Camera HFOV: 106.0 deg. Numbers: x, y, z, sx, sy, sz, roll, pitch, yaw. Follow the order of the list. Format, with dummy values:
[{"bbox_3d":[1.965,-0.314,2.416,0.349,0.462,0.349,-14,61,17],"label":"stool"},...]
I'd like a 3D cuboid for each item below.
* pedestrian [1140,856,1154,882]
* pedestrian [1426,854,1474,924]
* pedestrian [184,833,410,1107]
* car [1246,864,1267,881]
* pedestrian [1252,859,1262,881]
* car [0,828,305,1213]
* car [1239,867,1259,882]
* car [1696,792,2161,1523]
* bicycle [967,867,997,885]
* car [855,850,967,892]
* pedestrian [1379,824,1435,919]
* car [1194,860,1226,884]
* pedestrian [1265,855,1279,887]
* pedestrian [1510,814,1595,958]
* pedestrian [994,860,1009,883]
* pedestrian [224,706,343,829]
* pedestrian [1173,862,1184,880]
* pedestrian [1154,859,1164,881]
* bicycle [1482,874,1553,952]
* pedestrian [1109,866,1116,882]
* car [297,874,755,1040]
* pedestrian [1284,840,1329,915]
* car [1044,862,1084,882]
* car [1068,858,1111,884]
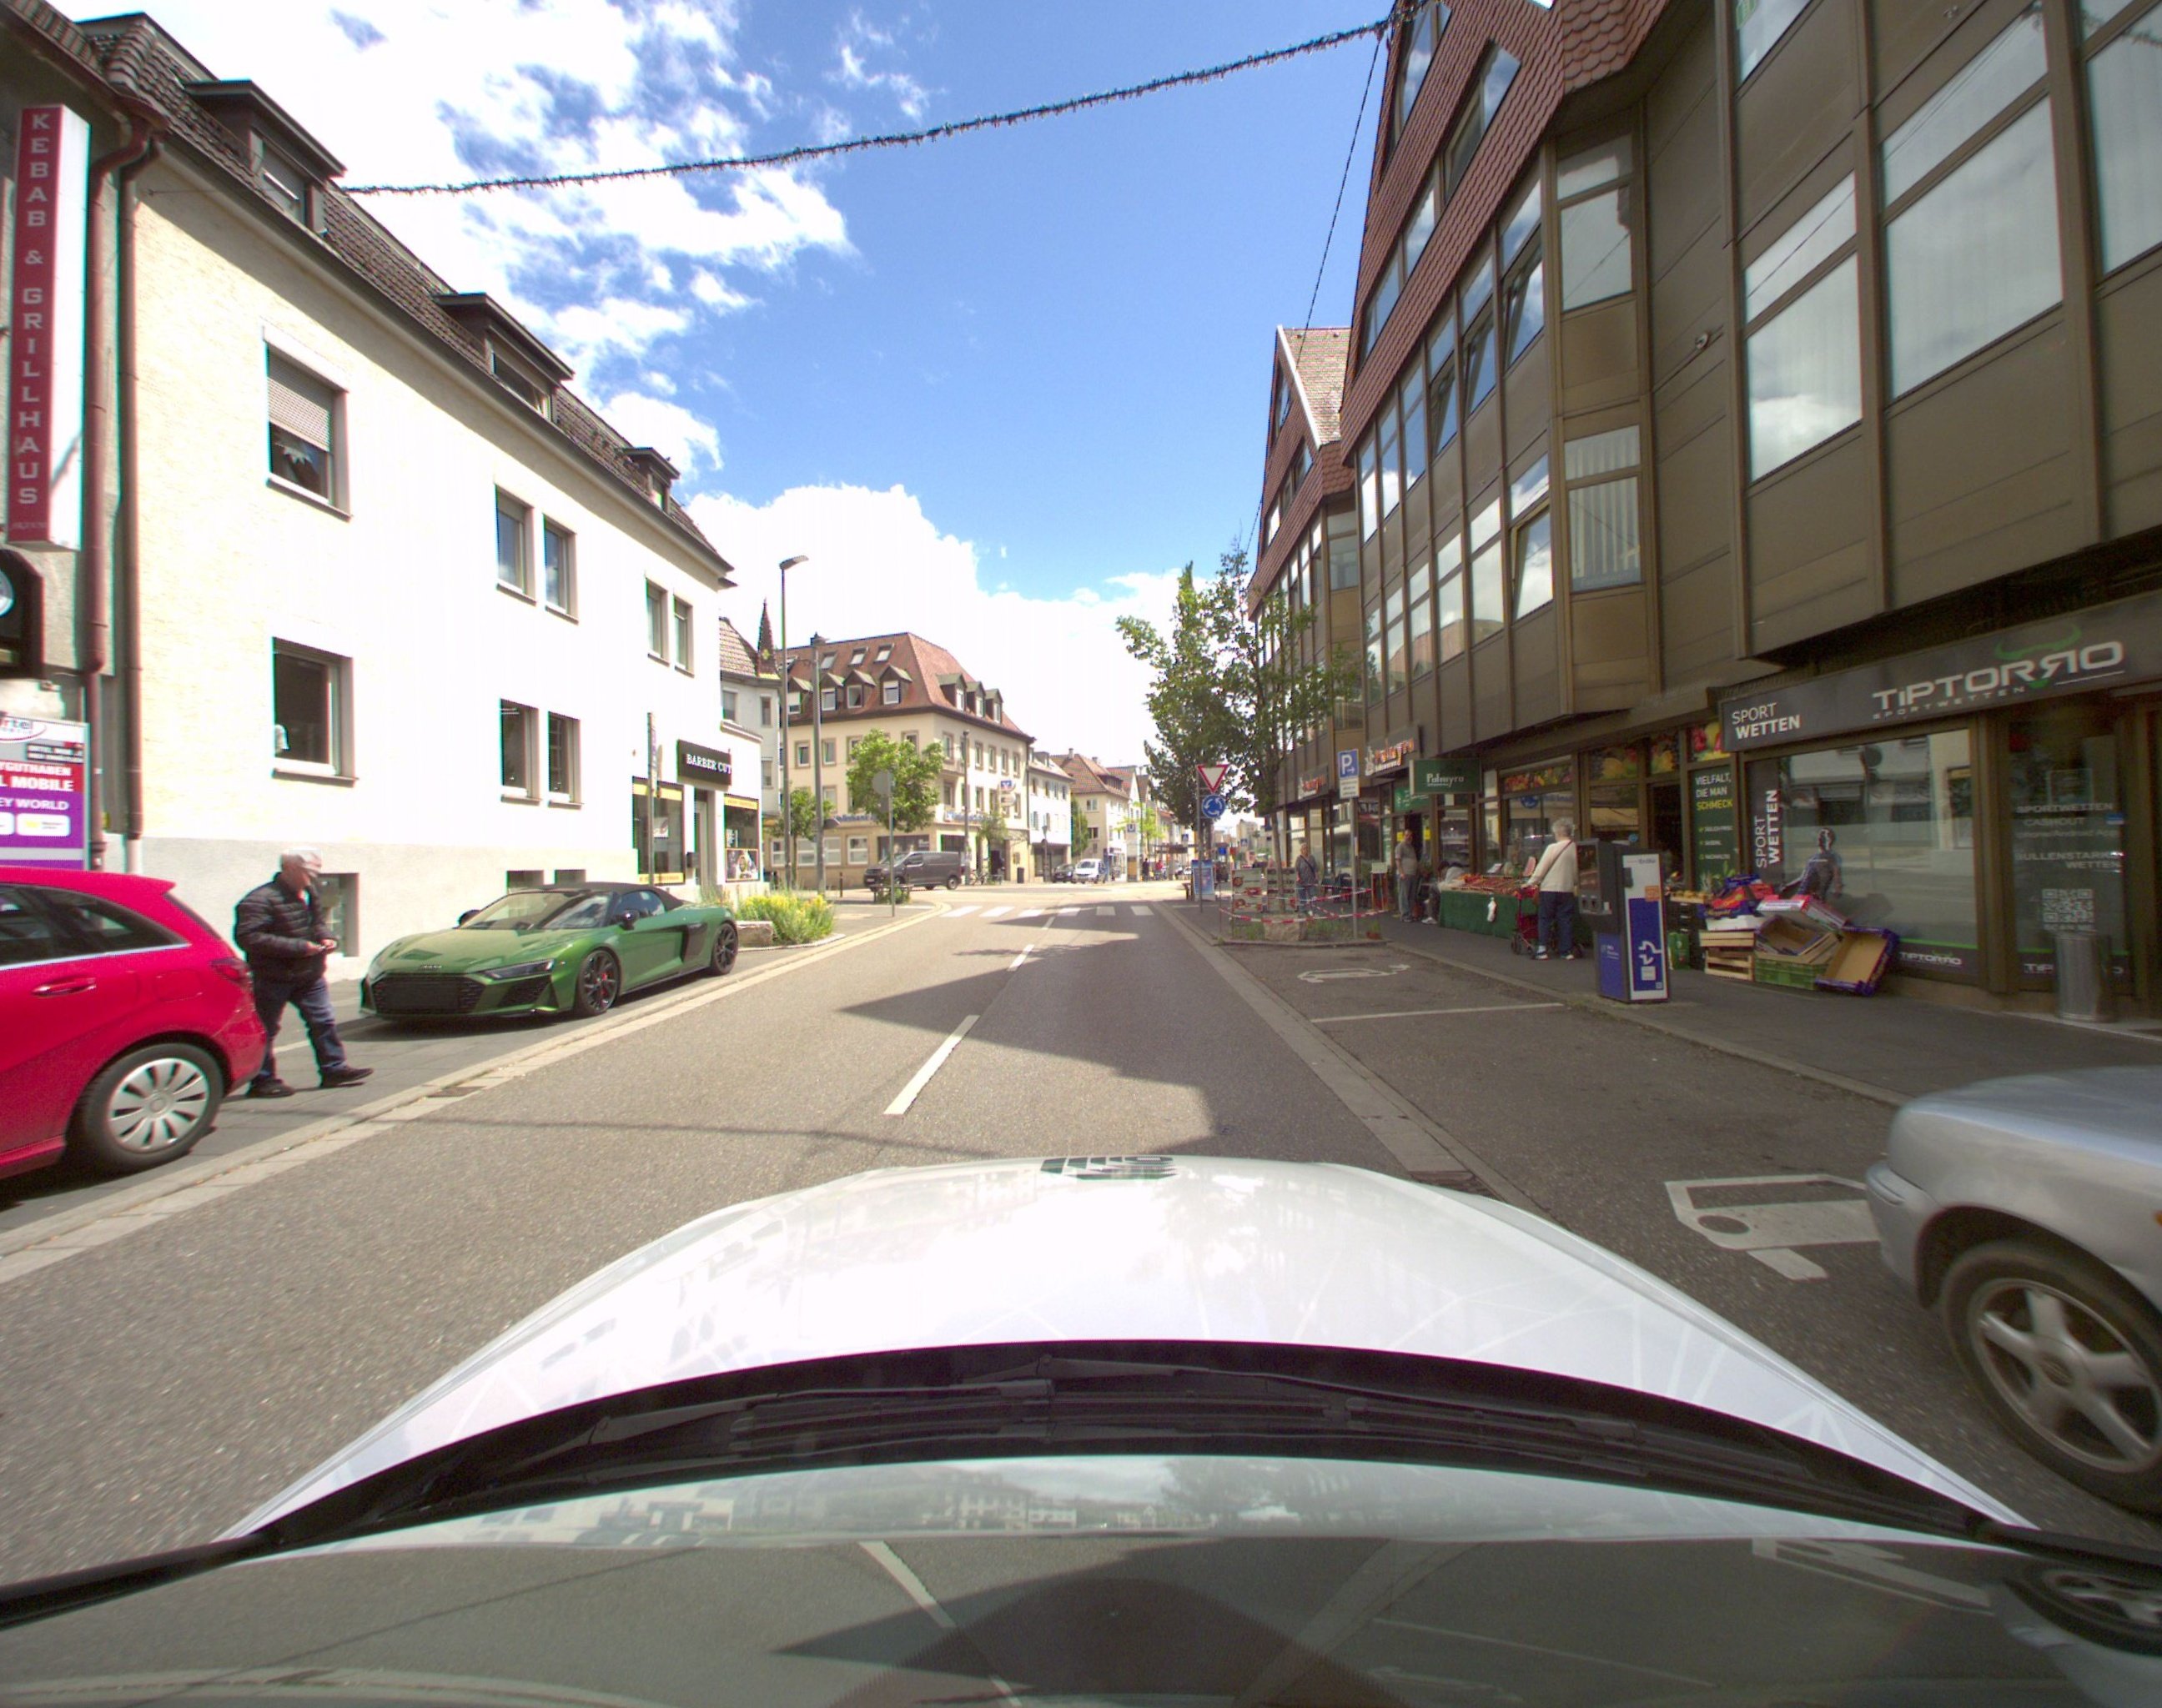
[{"bbox_3d":[4.399,1.017,54.298,0.865,1.708,0.531,0,-1,4],"label":"pedestrian"},{"bbox_3d":[6.808,0.639,15.045,0.618,1.253,0.614,0,-1,4],"label":"pedestrian"},{"bbox_3d":[-5.064,0.702,5.318,0.683,1.648,0.780,0,-1,3],"label":"pedestrian"},{"bbox_3d":[16.208,1.674,74.958,1.685,1.530,3.485,0,-1,15],"label":"car"},{"bbox_3d":[13.523,1.207,62.510,0.619,1.690,0.652,0,-1,1],"label":"pedestrian"},{"bbox_3d":[-5.392,0.719,2.628,1.795,1.604,4.215,-2,0,-2],"label":"car"},{"bbox_3d":[19.708,2.391,95.822,1.939,1.640,4.007,0,-1,7],"label":"car"},{"bbox_3d":[2.978,0.598,1.007,1.603,1.495,3.798,-5,0,3],"label":"car"},{"bbox_3d":[-5.783,1.269,47.534,1.619,1.031,0.570,0,-1,16],"label":"bicycle"},{"bbox_3d":[-7.936,0.783,38.472,2.021,1.848,5.030,-1,-1,39],"label":"car"},{"bbox_3d":[6.439,0.343,16.102,0.734,1.814,0.712,-3,-1,1],"label":"pedestrian"},{"bbox_3d":[8.483,1.145,53.326,1.685,1.530,3.485,0,-1,15],"label":"car"},{"bbox_3d":[10.169,0.908,43.363,0.619,1.690,0.652,0,-1,1],"label":"pedestrian"},{"bbox_3d":[5.852,0.384,10.126,0.658,1.706,0.642,0,-1,-22],"label":"pedestrian"},{"bbox_3d":[-5.447,1.210,55.929,0.620,1.532,0.863,-1,-1,25],"label":"pedestrian"},{"bbox_3d":[-9.593,-1.020,9.826,0.675,1.394,0.746,0,-1,2],"label":"pedestrian"},{"bbox_3d":[8.741,1.545,73.124,0.720,1.579,0.753,-1,-1,39],"label":"pedestrian"},{"bbox_3d":[6.286,1.328,65.907,0.722,1.764,0.751,-1,-1,12],"label":"pedestrian"},{"bbox_3d":[5.704,0.751,10.645,0.604,0.979,0.555,0,-1,-22],"label":"bicycle"},{"bbox_3d":[3.180,2.001,81.786,0.691,1.610,0.643,0,-1,-3],"label":"pedestrian"},{"bbox_3d":[-5.446,0.900,8.924,1.812,1.223,4.525,0,0,1],"label":"car"},{"bbox_3d":[4.960,0.503,17.936,0.781,1.615,0.800,0,-1,1],"label":"pedestrian"},{"bbox_3d":[-1.219,1.325,60.203,1.979,1.453,4.015,0,-1,15],"label":"car"},{"bbox_3d":[0.593,1.131,54.461,1.979,1.689,4.015,0,-1,14],"label":"car"}]
